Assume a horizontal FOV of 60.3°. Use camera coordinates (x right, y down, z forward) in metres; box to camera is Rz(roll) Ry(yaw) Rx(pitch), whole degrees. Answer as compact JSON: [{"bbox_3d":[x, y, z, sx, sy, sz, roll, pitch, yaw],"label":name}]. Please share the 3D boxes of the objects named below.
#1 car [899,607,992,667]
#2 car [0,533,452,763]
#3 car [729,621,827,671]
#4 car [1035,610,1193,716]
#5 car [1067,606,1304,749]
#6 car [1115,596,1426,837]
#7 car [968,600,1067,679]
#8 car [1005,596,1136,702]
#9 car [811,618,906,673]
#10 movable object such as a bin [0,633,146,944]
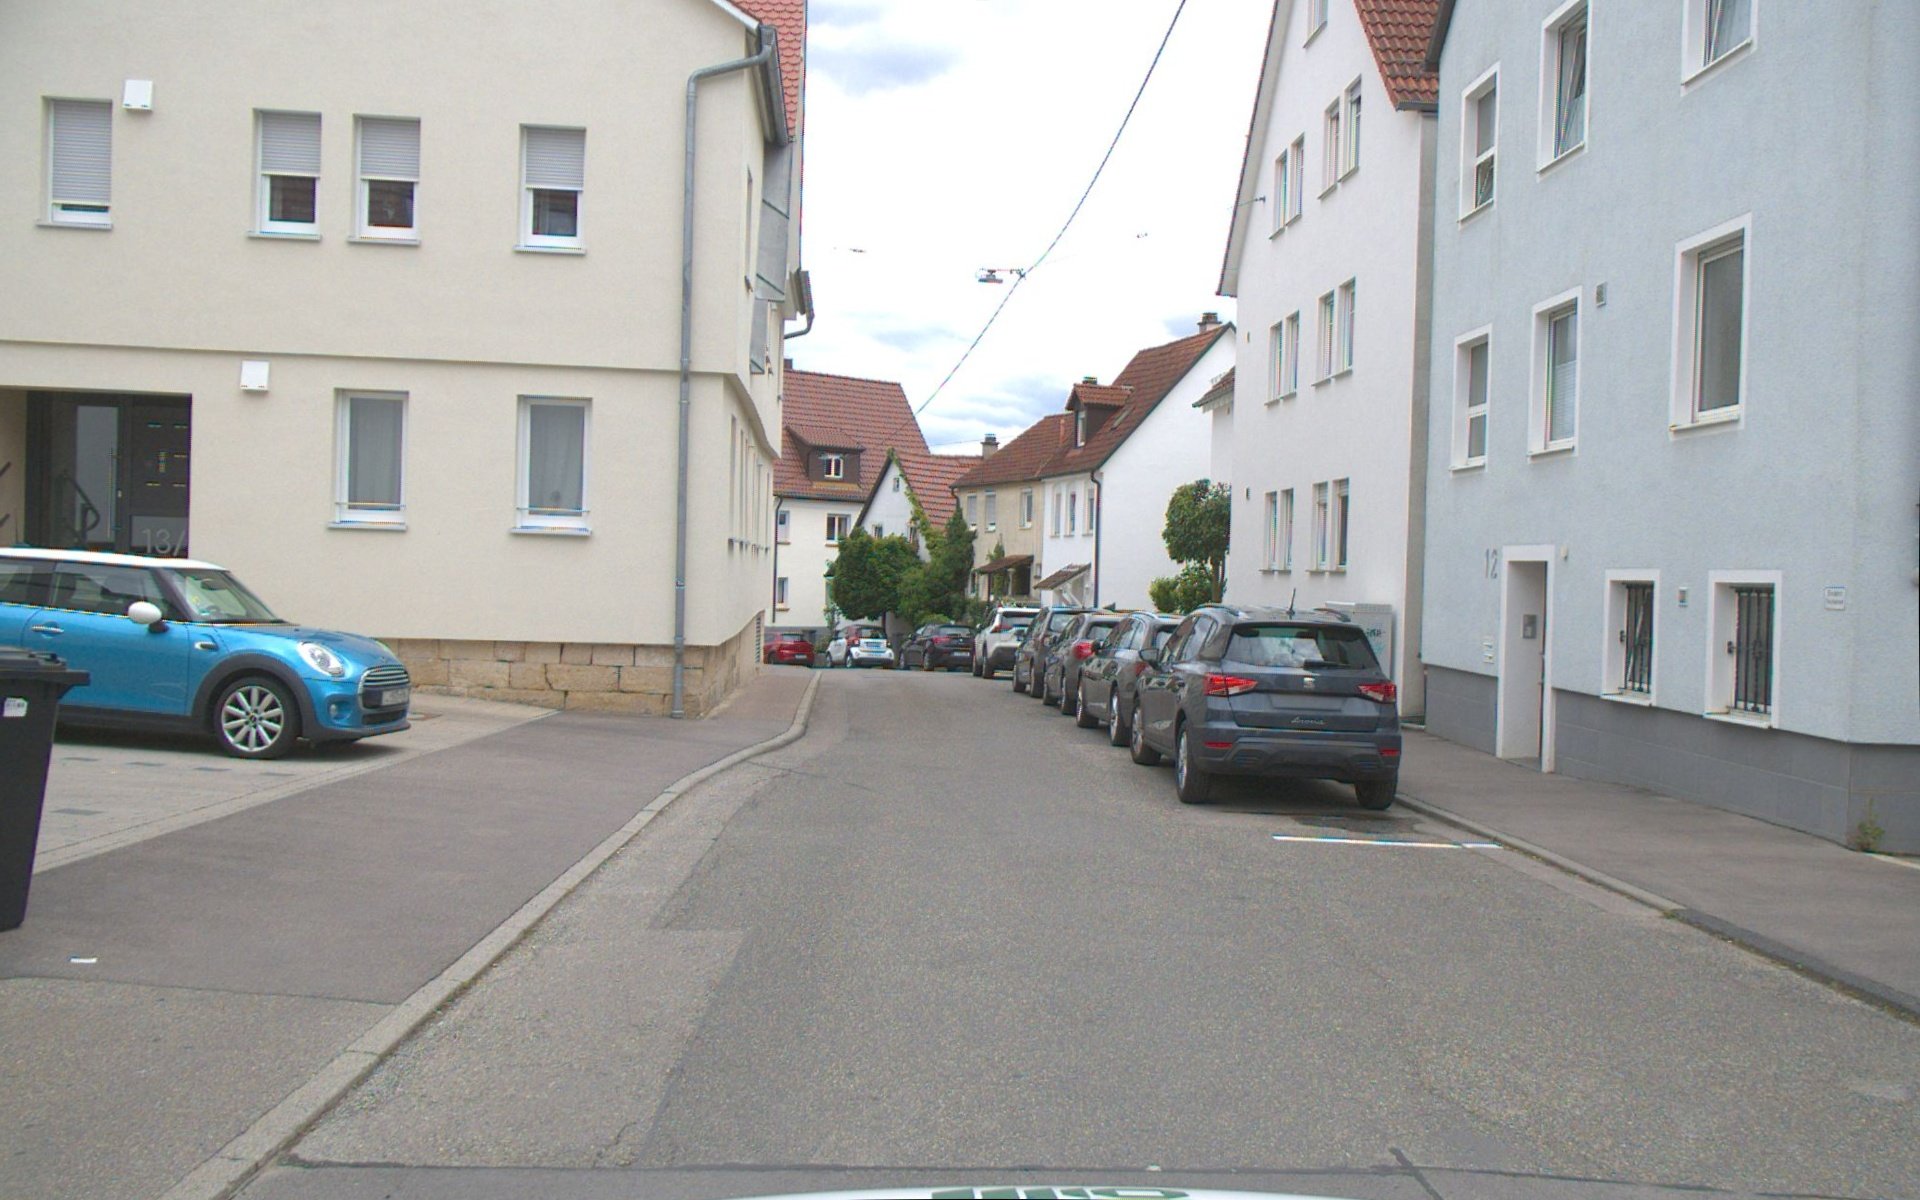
[{"bbox_3d":[-0.481,1.155,50.253,1.960,1.743,3.985,1,-2,-14],"label":"car"},{"bbox_3d":[-6.160,0.316,12.791,3.654,1.436,2.121,4,-1,2],"label":"car"},{"bbox_3d":[-7.107,1.793,64.332,1.979,1.713,3.948,-4,0,-37],"label":"car"},{"bbox_3d":[2.173,0.890,24.351,1.761,1.376,4.072,2,-1,-2],"label":"car"},{"bbox_3d":[2.430,0.794,19.018,1.880,1.434,4.653,0,0,-3],"label":"car"},{"bbox_3d":[2.471,0.841,14.292,1.718,1.656,4.534,3,0,-1],"label":"car"},{"bbox_3d":[1.322,0.932,39.676,1.836,1.743,4.143,2,-1,-5],"label":"car"},{"bbox_3d":[1.900,0.846,29.562,1.702,1.638,3.996,4,-1,-4],"label":"car"},{"bbox_3d":[-3.643,1.600,59.012,1.939,1.743,3.965,2,0,-27],"label":"car"},{"bbox_3d":[-3.684,0.694,6.323,0.602,1.094,0.752,4,0,20],"label":"movable object such as a bin"}]
